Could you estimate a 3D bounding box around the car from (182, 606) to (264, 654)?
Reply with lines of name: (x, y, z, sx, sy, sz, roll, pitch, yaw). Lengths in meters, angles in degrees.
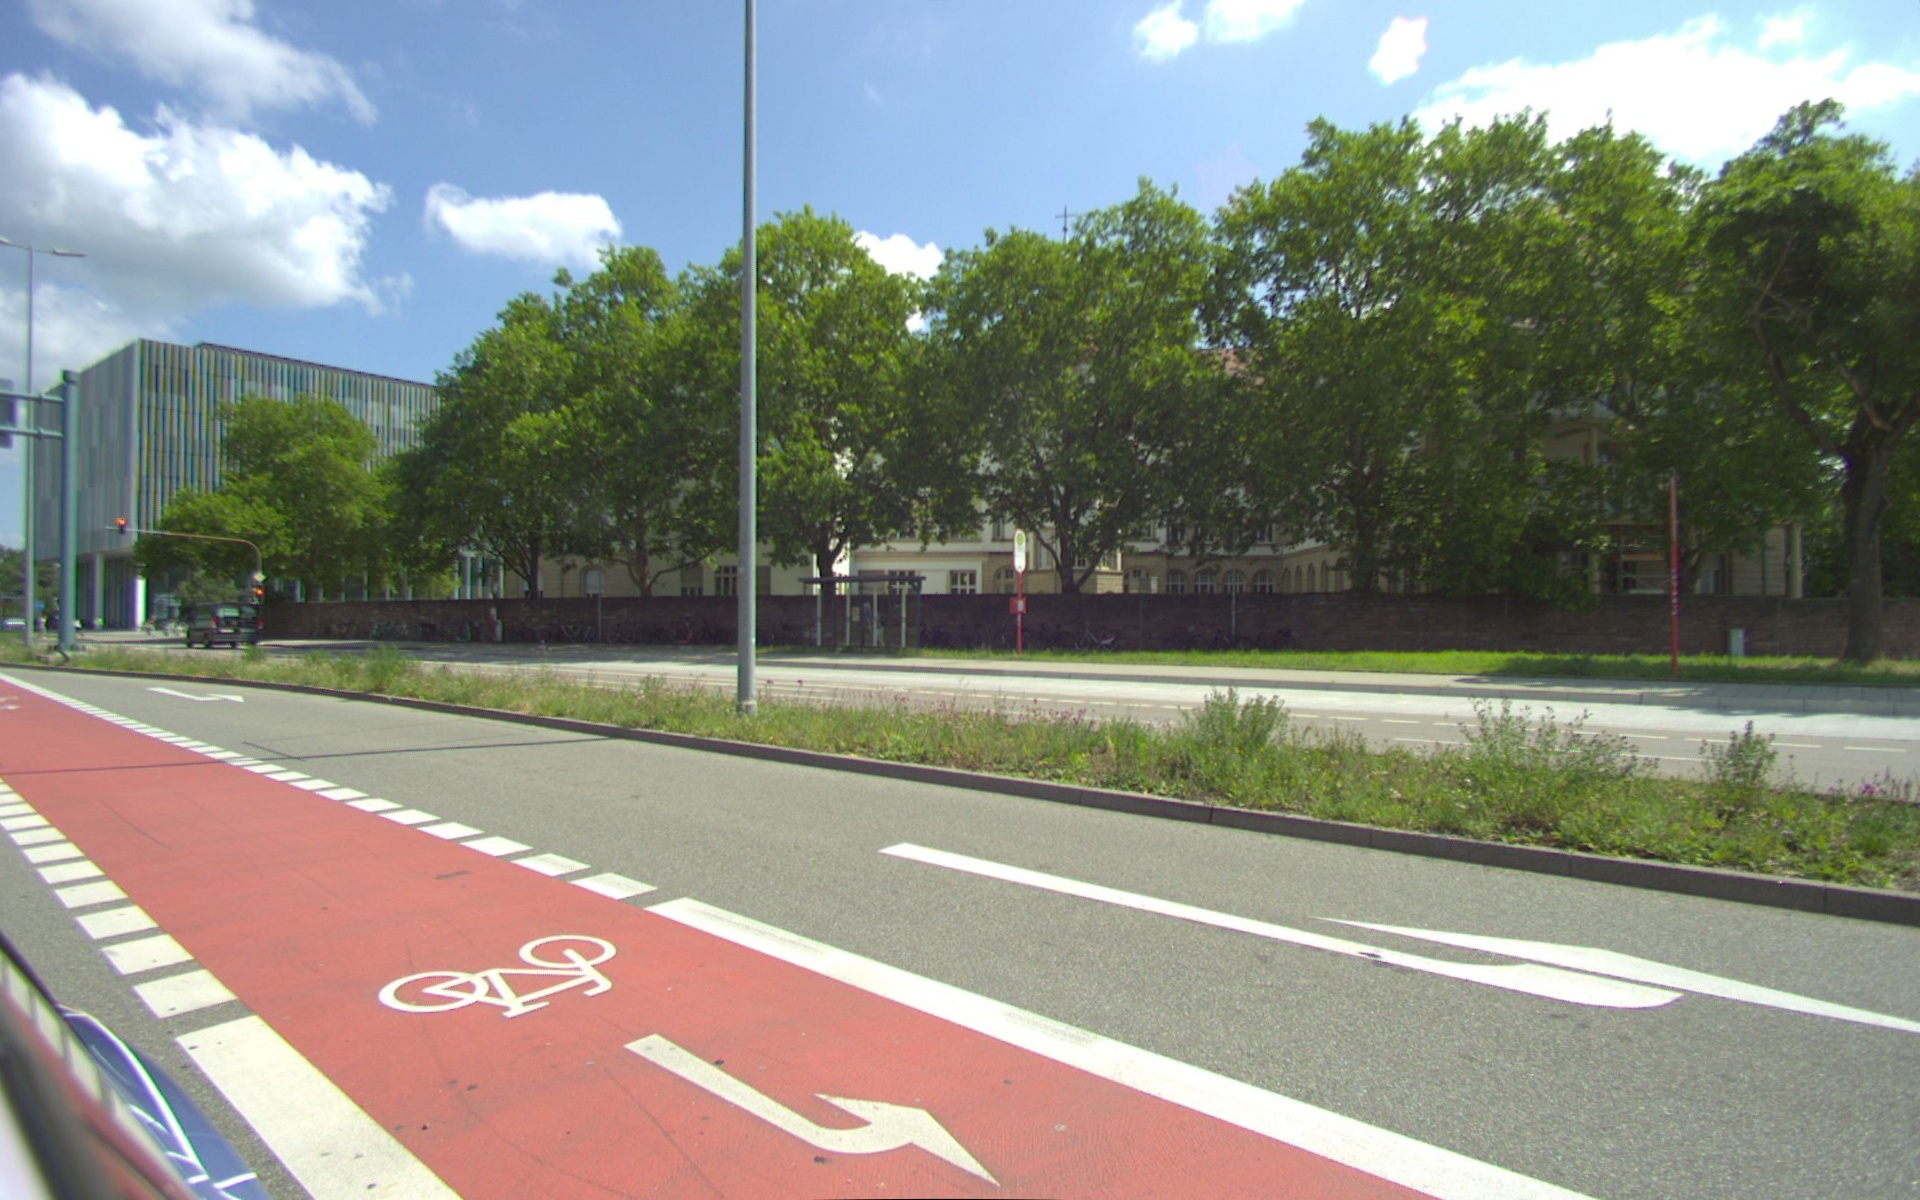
car: (-35.201, 1.450, 48.324, 4.518, 2.188, 2.185, -1, -3, 41)

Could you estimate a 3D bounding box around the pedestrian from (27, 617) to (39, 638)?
pedestrian: (-87.242, 2.549, 95.231, 0.806, 1.931, 0.707, 0, 0, 35)

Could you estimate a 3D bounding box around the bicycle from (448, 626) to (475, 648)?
bicycle: (-26.200, 1.925, 53.204, 1.663, 1.116, 0.379, -1, -1, 29)

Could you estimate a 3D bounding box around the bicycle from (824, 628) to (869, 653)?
bicycle: (-4.782, 1.688, 42.622, 1.944, 1.051, 0.395, 0, -1, 22)

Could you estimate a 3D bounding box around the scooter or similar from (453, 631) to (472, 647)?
scooter or similar: (-25.584, 2.001, 52.032, 1.064, 0.850, 0.350, -1, -1, 28)

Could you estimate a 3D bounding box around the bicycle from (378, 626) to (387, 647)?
bicycle: (-32.415, 2.034, 56.814, 0.376, 1.116, 1.675, 1, -1, -28)

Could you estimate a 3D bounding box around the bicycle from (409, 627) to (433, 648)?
bicycle: (-29.383, 2.028, 55.151, 1.664, 1.116, 0.378, -1, -2, 32)

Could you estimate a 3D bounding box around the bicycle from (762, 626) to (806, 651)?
bicycle: (-7.632, 1.658, 43.874, 1.944, 1.051, 0.395, 0, -1, 22)

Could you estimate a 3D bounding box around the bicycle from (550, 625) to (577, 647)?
bicycle: (-19.299, 1.730, 49.300, 1.409, 1.051, 0.374, -1, -1, 27)

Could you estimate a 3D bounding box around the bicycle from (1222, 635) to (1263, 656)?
bicycle: (10.564, 1.694, 37.856, 1.452, 0.795, 0.396, 0, -1, 14)

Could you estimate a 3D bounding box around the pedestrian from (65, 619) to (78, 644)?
pedestrian: (-69.046, 2.442, 78.647, 0.717, 1.932, 0.624, 0, 0, 37)

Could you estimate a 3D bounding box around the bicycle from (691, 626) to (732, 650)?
bicycle: (-11.120, 1.673, 45.284, 1.946, 1.051, 0.395, -1, -1, 24)

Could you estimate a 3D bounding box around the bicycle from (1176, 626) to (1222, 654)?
bicycle: (9.017, 1.503, 38.233, 1.671, 1.038, 0.396, 0, -1, 14)

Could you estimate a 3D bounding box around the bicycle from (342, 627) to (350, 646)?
bicycle: (-35.820, 2.122, 59.044, 0.324, 1.025, 1.675, 1, -1, -28)

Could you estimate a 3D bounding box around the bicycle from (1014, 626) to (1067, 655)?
bicycle: (3.174, 1.593, 39.941, 2.021, 1.146, 0.396, 0, -1, 17)

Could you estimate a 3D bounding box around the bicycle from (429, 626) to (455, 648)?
bicycle: (-27.682, 1.976, 54.049, 1.663, 1.116, 0.379, -1, -2, 30)

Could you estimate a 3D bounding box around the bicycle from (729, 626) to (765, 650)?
bicycle: (-9.388, 1.661, 44.579, 1.628, 1.051, 0.395, 0, -1, 22)

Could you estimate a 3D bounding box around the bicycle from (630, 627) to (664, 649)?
bicycle: (-14.510, 1.750, 46.900, 1.752, 1.011, 0.394, -1, -1, 27)

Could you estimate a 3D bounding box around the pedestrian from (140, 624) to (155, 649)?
pedestrian: (-63.125, 2.843, 78.648, 0.806, 1.931, 0.707, 0, 0, 35)

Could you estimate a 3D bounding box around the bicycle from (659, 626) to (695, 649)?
bicycle: (-12.882, 1.698, 46.100, 1.751, 1.051, 0.394, -1, -1, 25)

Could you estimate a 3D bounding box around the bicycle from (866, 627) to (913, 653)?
bicycle: (-2.911, 1.652, 41.857, 1.944, 1.051, 0.395, 0, -1, 22)

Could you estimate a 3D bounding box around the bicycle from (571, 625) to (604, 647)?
bicycle: (-17.863, 1.712, 48.573, 1.752, 1.051, 0.394, -1, -1, 27)

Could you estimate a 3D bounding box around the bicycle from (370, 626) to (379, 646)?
bicycle: (-33.104, 2.037, 57.261, 0.376, 1.116, 1.675, 1, -1, -28)

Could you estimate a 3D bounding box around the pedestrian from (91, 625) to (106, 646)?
pedestrian: (-79.908, 3.300, 93.870, 0.806, 1.931, 0.816, 0, 0, 35)

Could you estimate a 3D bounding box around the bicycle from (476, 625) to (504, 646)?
bicycle: (-24.040, 1.803, 51.773, 1.663, 1.051, 0.379, -1, -1, 29)

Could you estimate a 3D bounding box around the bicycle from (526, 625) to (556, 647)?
bicycle: (-20.700, 1.761, 50.006, 1.663, 1.051, 0.379, -1, -1, 29)

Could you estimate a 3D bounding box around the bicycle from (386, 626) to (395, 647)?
bicycle: (-31.695, 2.028, 56.334, 0.376, 1.116, 1.675, 1, -1, -28)

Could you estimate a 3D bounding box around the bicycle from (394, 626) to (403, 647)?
bicycle: (-31.033, 2.025, 55.948, 0.376, 1.116, 1.675, 1, -1, -28)

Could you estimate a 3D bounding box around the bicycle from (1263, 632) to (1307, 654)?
bicycle: (12.041, 1.594, 37.509, 1.529, 0.795, 0.396, 0, -1, 14)

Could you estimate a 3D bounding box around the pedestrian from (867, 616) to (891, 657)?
pedestrian: (-3.244, 1.444, 40.505, 0.773, 1.623, 0.720, 0, -1, 11)

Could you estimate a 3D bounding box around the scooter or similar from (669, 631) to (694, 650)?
scooter or similar: (-12.427, 1.806, 45.182, 1.060, 0.800, 0.351, 0, -1, 16)

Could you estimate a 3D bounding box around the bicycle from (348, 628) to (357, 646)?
bicycle: (-35.210, 2.115, 58.663, 0.324, 1.025, 1.675, 1, -1, -28)

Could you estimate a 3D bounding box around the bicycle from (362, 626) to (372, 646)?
bicycle: (-33.601, 2.040, 57.347, 0.376, 1.116, 1.675, 1, -1, -28)

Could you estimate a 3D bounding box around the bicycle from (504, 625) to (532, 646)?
bicycle: (-22.229, 1.796, 50.878, 1.663, 1.051, 0.379, -1, -1, 29)

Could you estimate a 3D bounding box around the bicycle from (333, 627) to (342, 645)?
bicycle: (-36.610, 2.124, 59.545, 0.324, 1.025, 1.675, 1, -1, -28)

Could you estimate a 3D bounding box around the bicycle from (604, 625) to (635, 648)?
bicycle: (-16.055, 1.722, 47.678, 1.575, 1.051, 0.394, -1, -1, 27)

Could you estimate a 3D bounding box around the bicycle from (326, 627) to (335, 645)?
bicycle: (-37.250, 2.125, 59.918, 0.324, 1.025, 1.675, 1, -1, -28)
